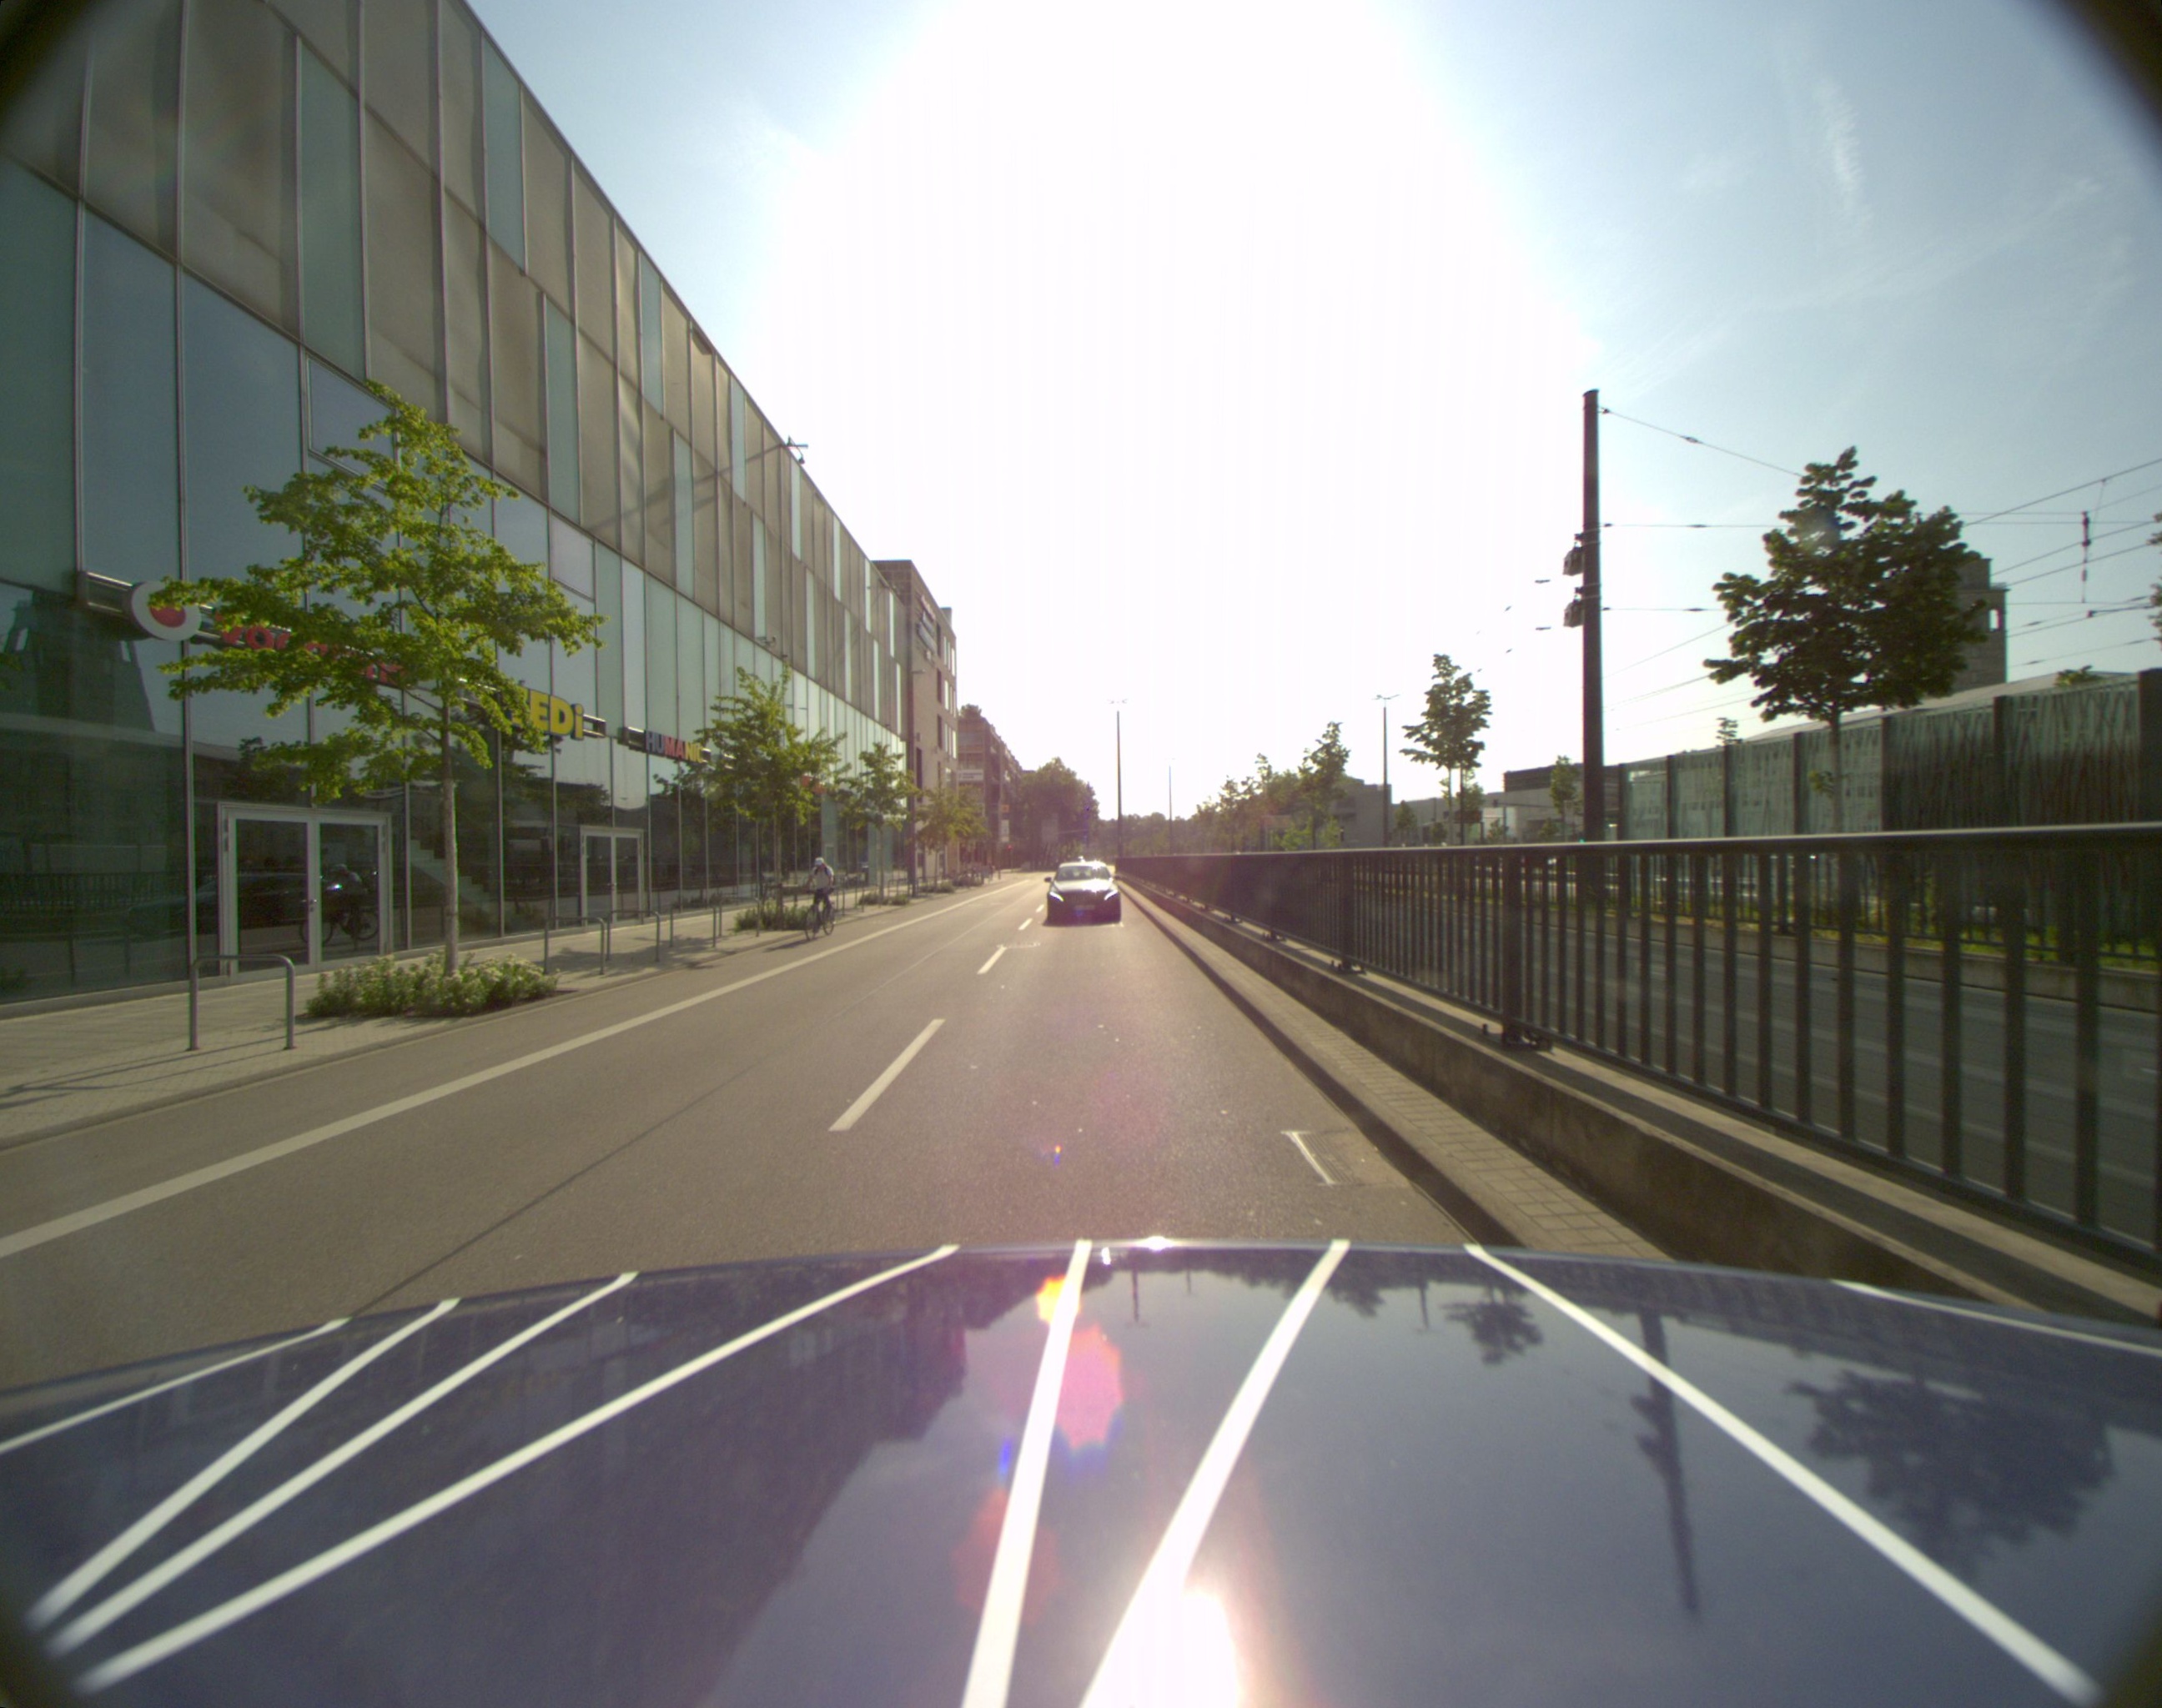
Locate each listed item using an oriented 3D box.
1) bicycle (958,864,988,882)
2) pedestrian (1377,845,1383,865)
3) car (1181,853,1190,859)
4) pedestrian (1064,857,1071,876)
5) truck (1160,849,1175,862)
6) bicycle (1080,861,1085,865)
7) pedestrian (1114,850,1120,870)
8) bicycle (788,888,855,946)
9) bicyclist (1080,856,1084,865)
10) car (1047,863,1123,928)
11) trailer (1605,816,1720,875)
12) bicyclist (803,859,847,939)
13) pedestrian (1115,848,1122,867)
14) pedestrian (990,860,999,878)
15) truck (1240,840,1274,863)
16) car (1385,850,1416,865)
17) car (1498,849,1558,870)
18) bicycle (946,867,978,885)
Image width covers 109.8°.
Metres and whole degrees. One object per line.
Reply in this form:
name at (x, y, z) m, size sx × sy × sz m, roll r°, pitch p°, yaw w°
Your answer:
bicycle at (-7.264, 1.278, 51.071) m, size 1.843 × 1.106 × 0.687 m, roll -3°, pitch 0°, yaw 3°
pedestrian at (24.898, 0.094, 63.265) m, size 0.371 × 1.666 × 0.641 m, roll -1°, pitch 1°, yaw 17°
car at (26.742, 0.539, 195.224) m, size 1.644 × 1.592 × 4.000 m, roll -1°, pitch 0°, yaw -1°
pedestrian at (-1.167, 1.044, 65.891) m, size 0.468 × 1.640 × 0.777 m, roll -2°, pitch 0°, yaw 1°
truck at (25.437, 0.447, 224.301) m, size 2.979 × 3.787 × 10.421 m, roll -1°, pitch 0°, yaw -1°
bicycle at (0.214, 1.629, 138.461) m, size 0.630 × 0.702 × 1.808 m, roll -1°, pitch 0°, yaw -9°
pedestrian at (2.967, 0.489, 62.895) m, size 0.468 × 1.640 × 0.777 m, roll -2°, pitch 0°, yaw 1°
bicycle at (-5.708, 1.357, 16.873) m, size 0.662 × 1.111 × 2.051 m, roll -1°, pitch 0°, yaw 3°
bicyclist at (0.186, 1.194, 138.603) m, size 0.612 × 1.504 × 0.813 m, roll -1°, pitch 0°, yaw -9°
car at (0.224, 0.997, 20.264) m, size 1.716 × 1.429 × 5.058 m, roll -2°, pitch 0°, yaw 3°
trailer at (29.998, -0.438, 39.462) m, size 2.050 × 2.764 × 5.021 m, roll -3°, pitch 0°, yaw 0°
bicyclist at (-5.704, 0.992, 16.936) m, size 0.652 × 1.738 × 0.769 m, roll -1°, pitch 0°, yaw 3°
pedestrian at (3.171, 0.299, 64.237) m, size 0.468 × 1.640 × 0.777 m, roll -2°, pitch 0°, yaw 1°
pedestrian at (-7.165, 1.242, 63.291) m, size 0.710 × 1.478 × 0.604 m, roll -1°, pitch 0°, yaw -6°
truck at (27.785, -0.356, 120.399) m, size 3.029 × 3.565 × 8.889 m, roll -1°, pitch 0°, yaw -1°
car at (31.430, 0.348, 74.805) m, size 1.600 × 1.455 × 3.434 m, roll -1°, pitch 0°, yaw 1°
car at (30.178, 0.380, 51.451) m, size 1.725 × 1.353 × 3.697 m, roll -1°, pitch 0°, yaw -3°
bicycle at (-7.353, 1.349, 46.895) m, size 1.883 × 1.103 × 0.490 m, roll -1°, pitch 0°, yaw 3°
